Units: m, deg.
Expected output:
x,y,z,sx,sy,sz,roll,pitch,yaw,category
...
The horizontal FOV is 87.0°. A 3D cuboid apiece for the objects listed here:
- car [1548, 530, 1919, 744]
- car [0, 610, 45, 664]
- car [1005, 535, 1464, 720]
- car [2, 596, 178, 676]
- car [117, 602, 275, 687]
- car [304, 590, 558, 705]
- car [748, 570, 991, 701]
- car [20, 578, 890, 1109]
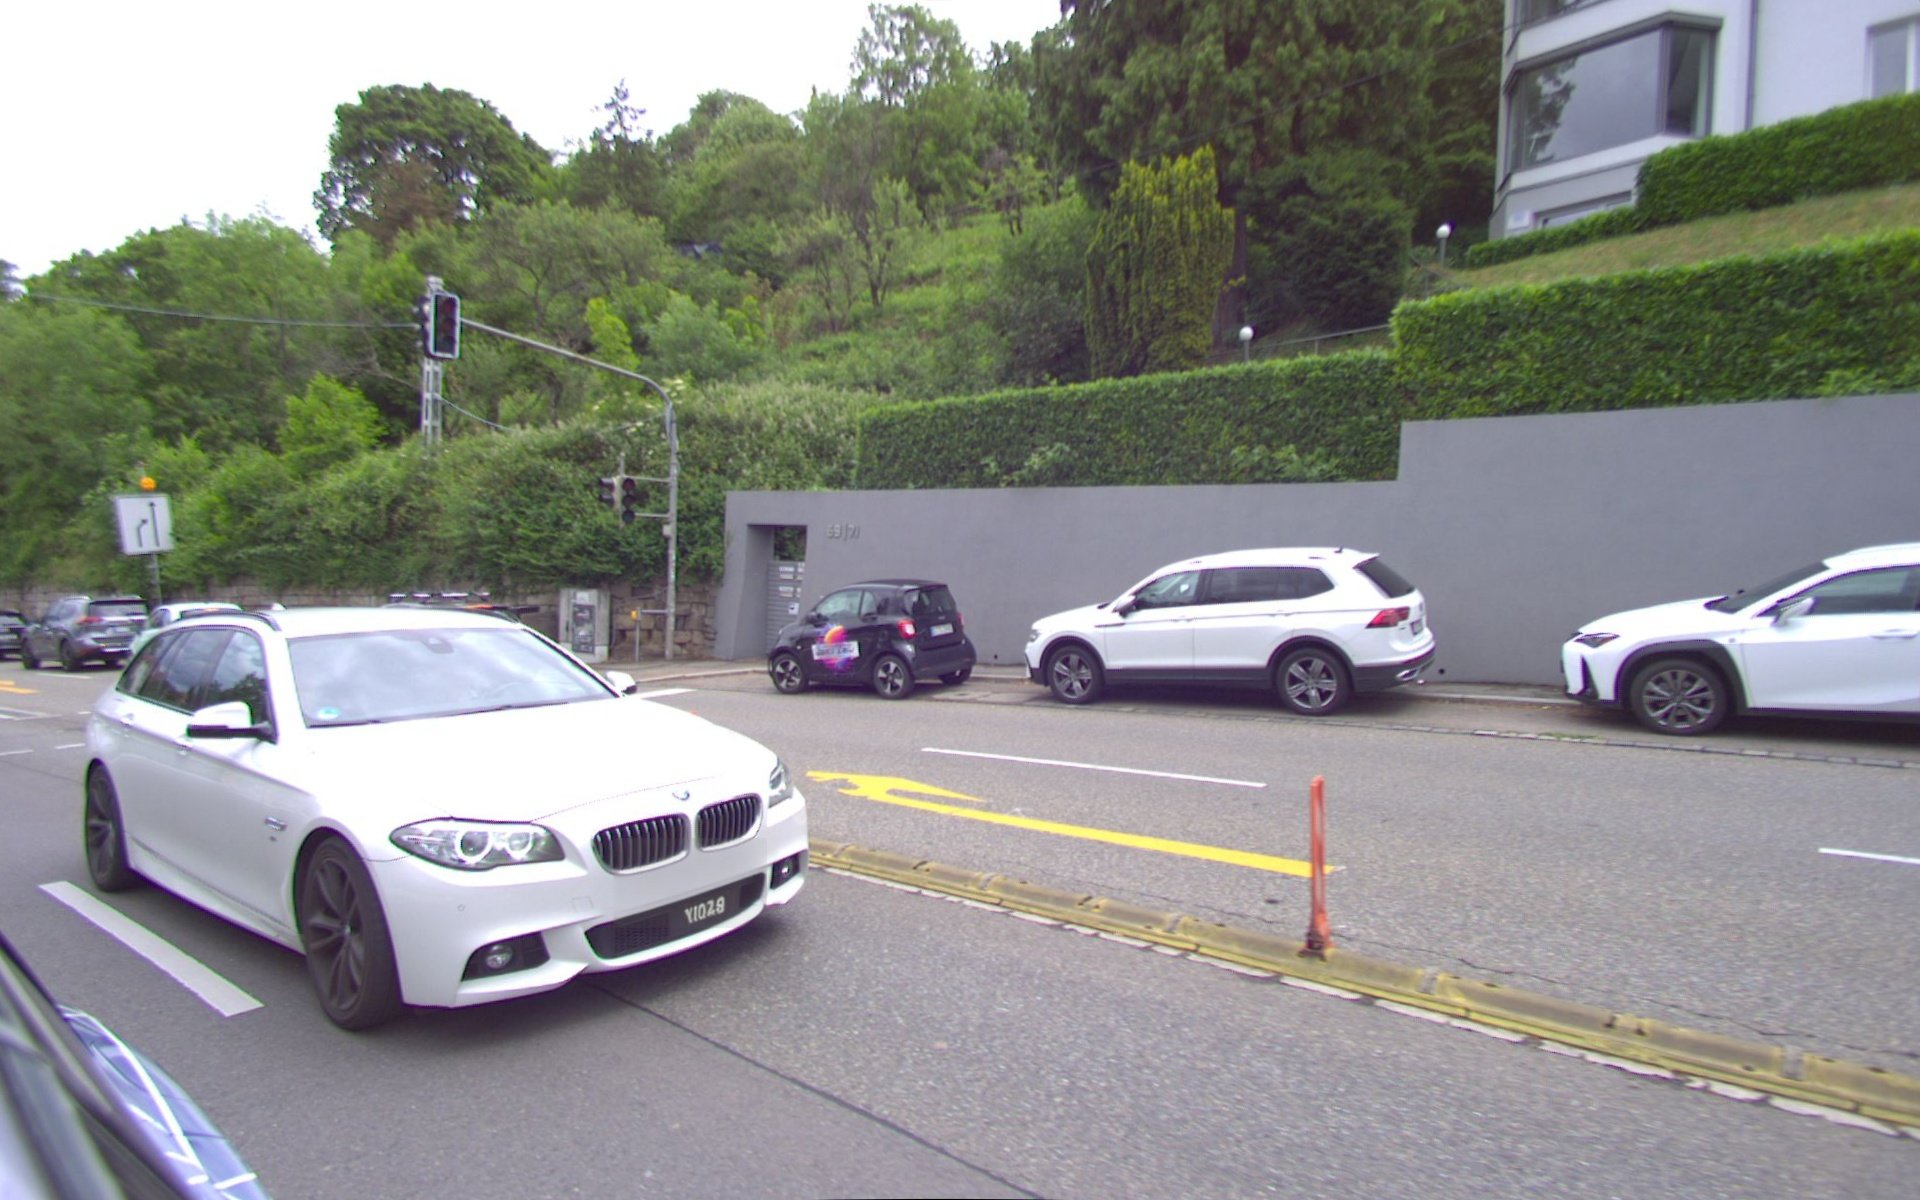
x,y,z,sx,sy,sz,roll,pitch,yaw,category
7.536,0.240,8.269,4.473,1.584,1.814,0,2,41,car
-27.903,1.036,28.637,4.860,1.440,1.795,-1,1,33,car
3.031,0.235,11.652,4.749,1.744,1.844,-1,2,35,car
-20.635,0.813,23.959,4.656,1.710,1.869,-1,0,32,car
-15.235,0.828,20.128,3.657,1.477,1.694,-1,1,40,car
-8.458,0.673,16.089,4.193,1.609,1.698,0,1,32,car
-1.287,0.477,14.318,2.949,1.584,1.698,-2,3,33,car
-2.813,0.699,5.063,4.869,1.477,1.832,-1,2,36,car
